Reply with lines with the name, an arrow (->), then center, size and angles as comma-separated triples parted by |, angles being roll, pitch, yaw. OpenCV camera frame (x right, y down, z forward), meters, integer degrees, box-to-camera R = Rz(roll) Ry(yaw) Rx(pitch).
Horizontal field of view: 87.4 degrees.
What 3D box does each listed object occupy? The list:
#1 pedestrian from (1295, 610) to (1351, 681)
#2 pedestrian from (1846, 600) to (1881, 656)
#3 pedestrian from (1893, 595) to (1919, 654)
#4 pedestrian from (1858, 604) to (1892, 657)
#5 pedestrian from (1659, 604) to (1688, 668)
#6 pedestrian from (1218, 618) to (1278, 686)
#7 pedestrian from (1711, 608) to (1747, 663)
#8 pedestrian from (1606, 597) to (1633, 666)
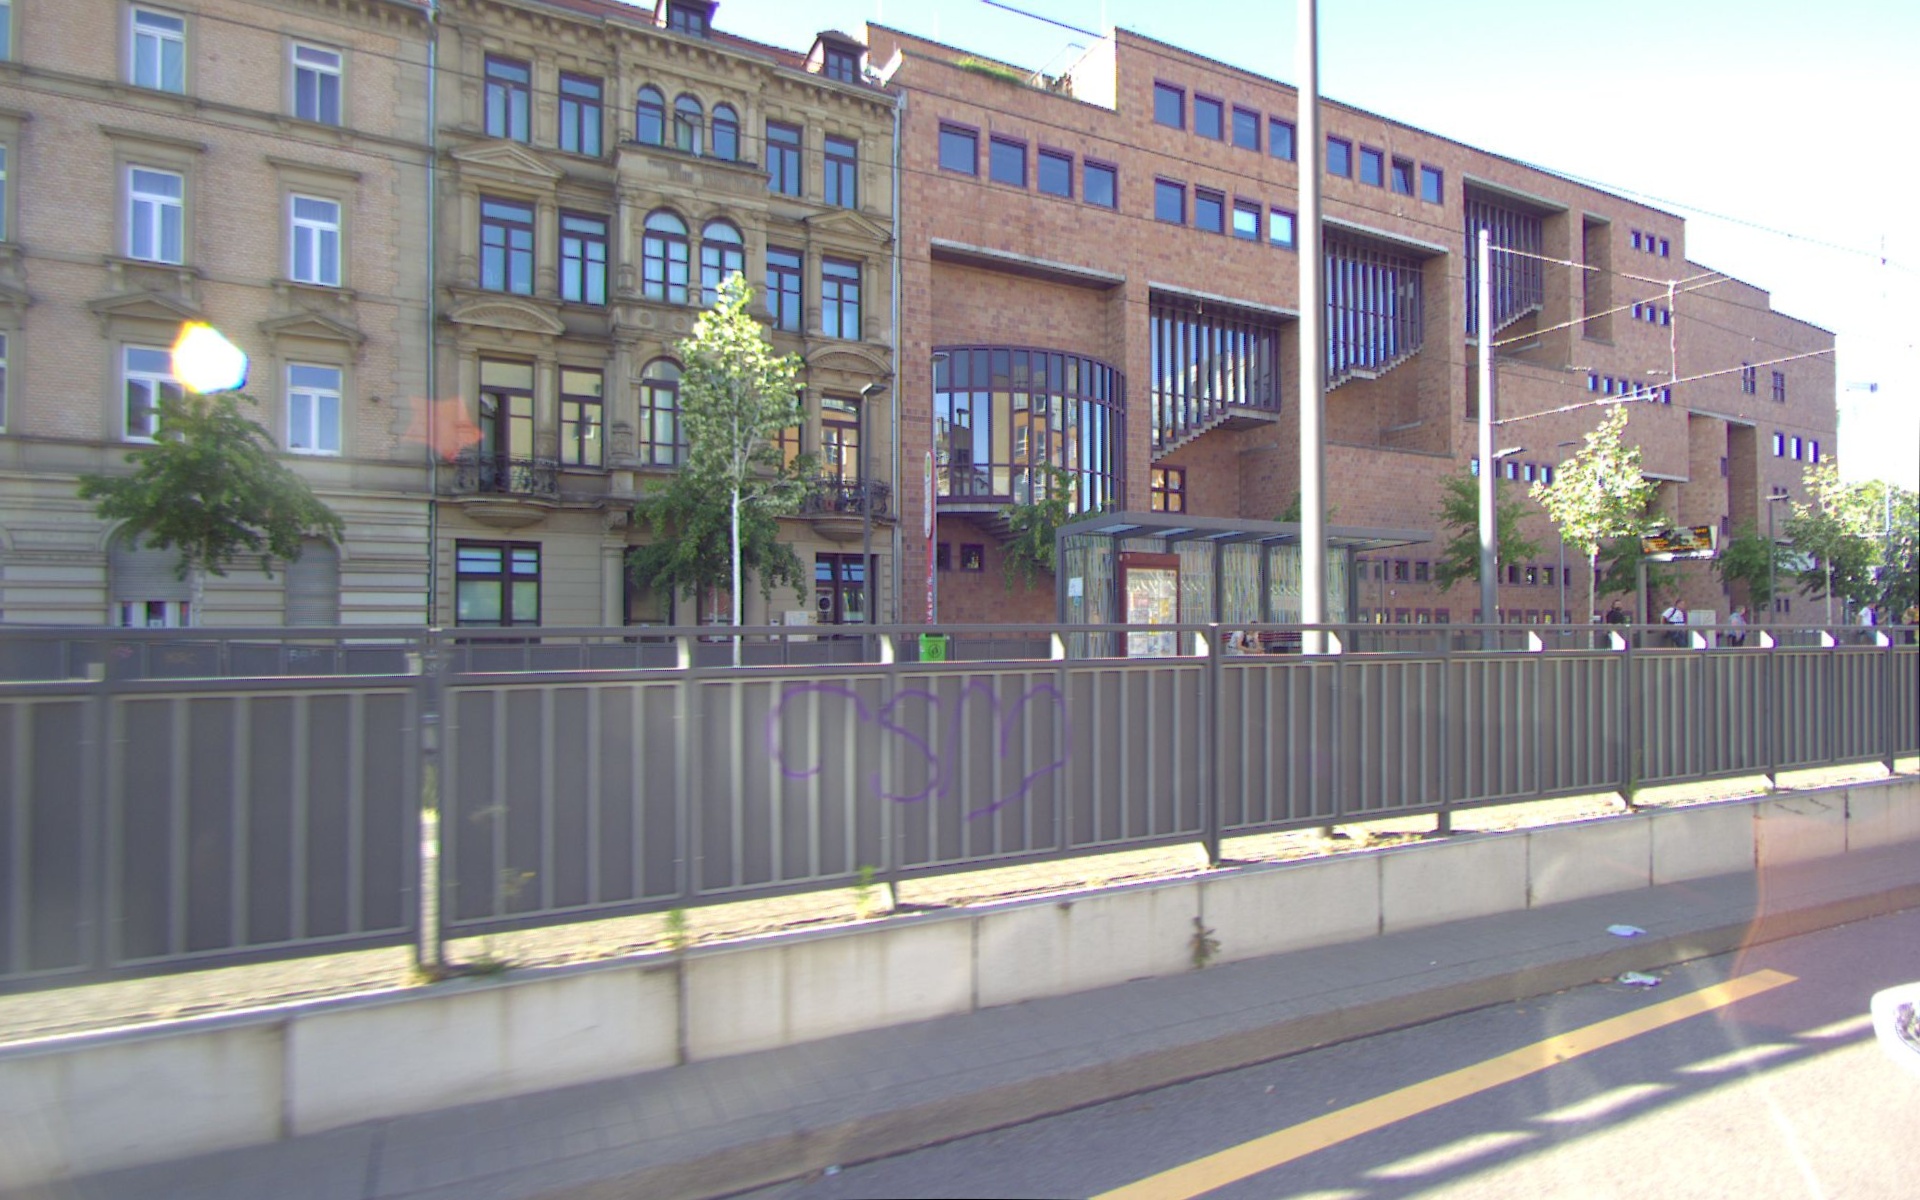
pedestrian -> 6.890, 0.868, 19.075 | 0.712, 1.326, 0.644 | 0, -3, -27
pedestrian -> 28.107, 0.859, 31.249 | 0.608, 1.737, 0.620 | 0, 0, -27
pedestrian -> 28.087, 0.714, 29.637 | 0.534, 1.718, 0.638 | 0, 1, -27
pedestrian -> 28.786, 0.944, 31.585 | 0.608, 1.633, 0.620 | 0, 0, -27
pedestrian -> 18.469, 0.921, 26.012 | 0.546, 1.643, 0.376 | 0, 1, -27
pedestrian -> 5.161, 0.931, 18.029 | 0.712, 1.183, 0.719 | 0, -3, -27
pedestrian -> 20.907, 0.952, 27.319 | 0.634, 1.479, 0.537 | 0, 1, -27
pedestrian -> 16.221, 0.769, 24.711 | 0.410, 1.670, 0.376 | 0, 1, -27
